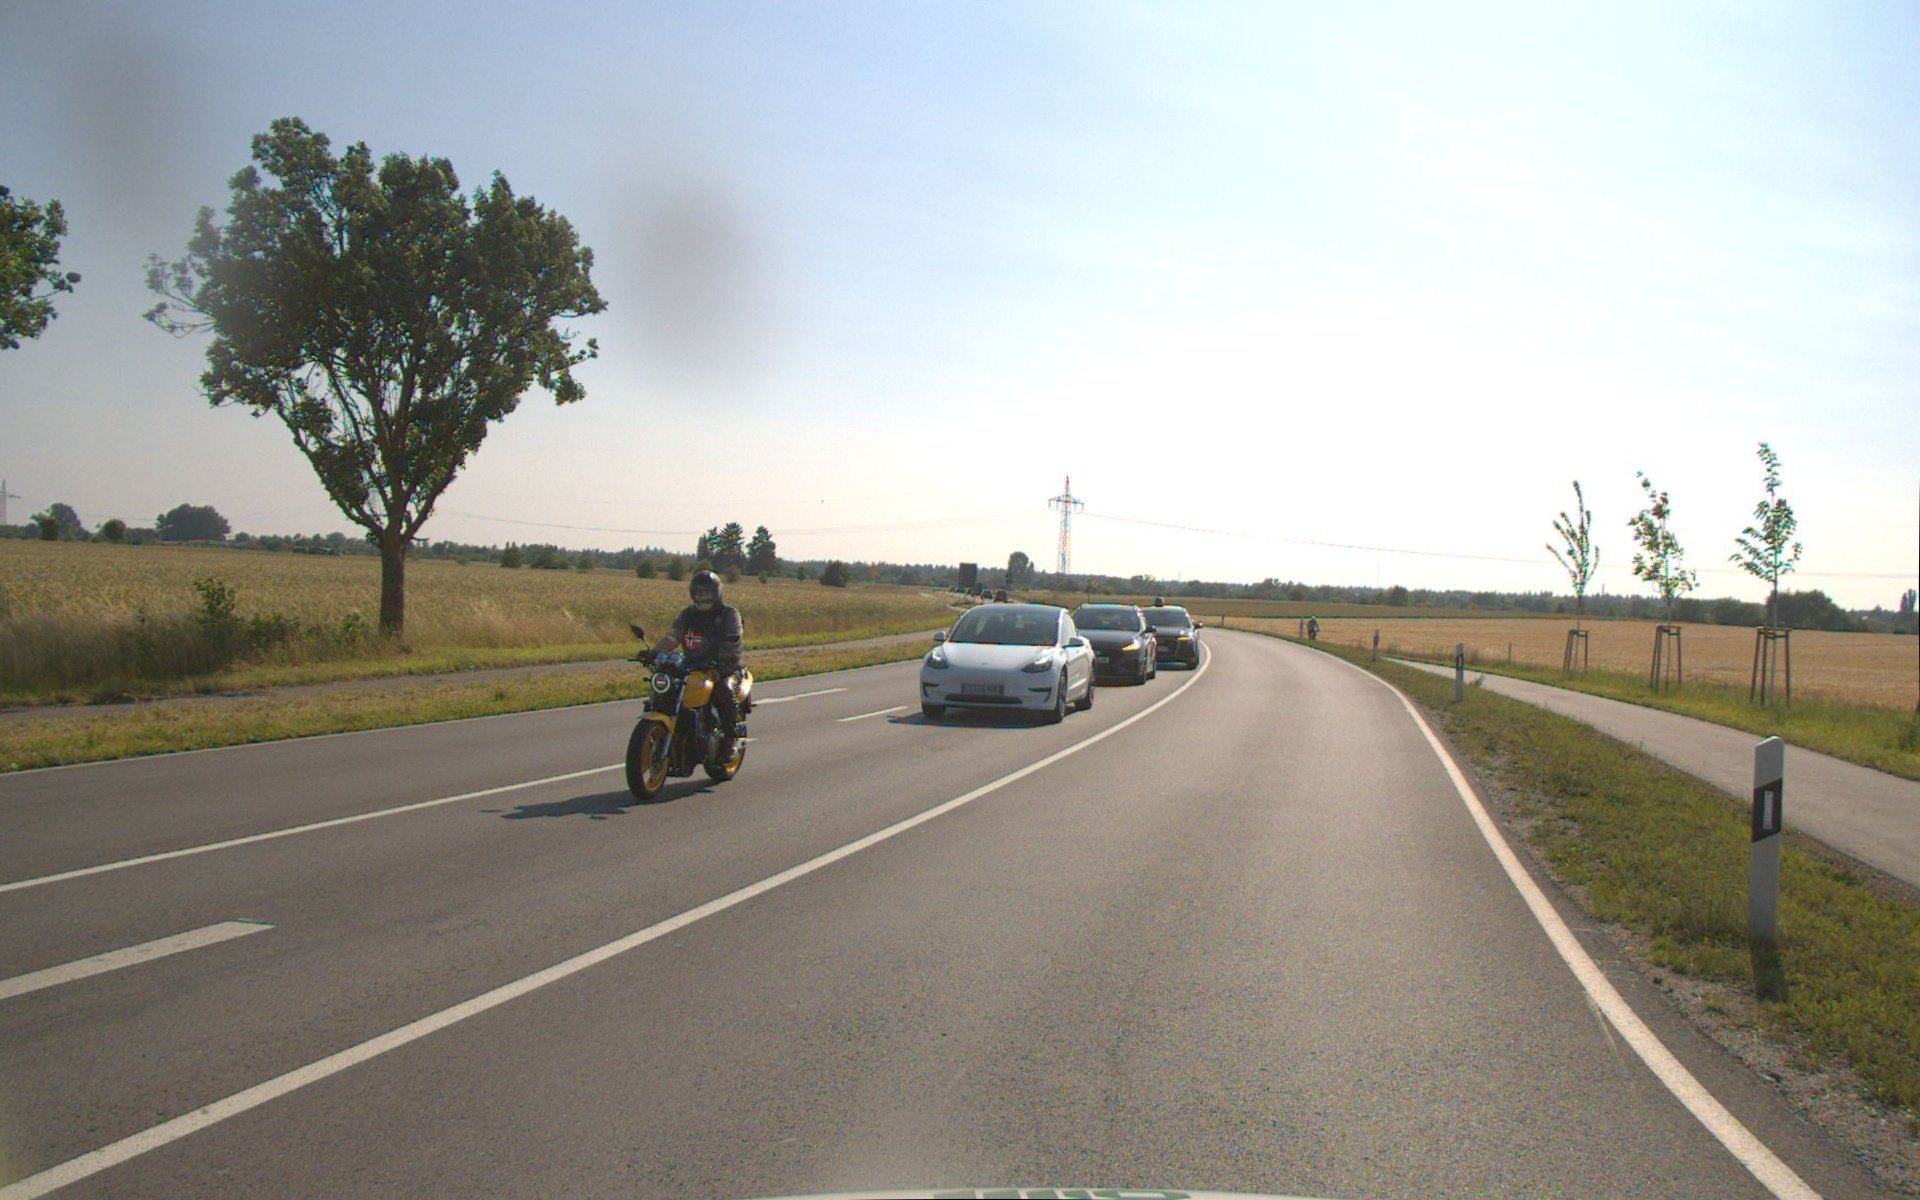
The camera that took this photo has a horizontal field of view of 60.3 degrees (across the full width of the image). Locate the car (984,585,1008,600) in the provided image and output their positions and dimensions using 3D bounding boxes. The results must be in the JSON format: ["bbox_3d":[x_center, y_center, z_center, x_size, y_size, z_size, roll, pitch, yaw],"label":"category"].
[{"bbox_3d":[5.415,-1.153,248.826,1.815,1.864,4.436,5,1,-24],"label":"car"}]

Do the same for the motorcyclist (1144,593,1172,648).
[{"bbox_3d":[5.596,0.570,46.788,0.663,1.521,0.848,2,0,11],"label":"motorcyclist"}]

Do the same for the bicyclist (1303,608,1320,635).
[{"bbox_3d":[20.292,1.239,95.463,0.625,1.482,0.816,4,0,-4],"label":"bicyclist"}]

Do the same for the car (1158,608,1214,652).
[{"bbox_3d":[7.866,1.002,57.301,1.650,1.428,4.003,1,0,12],"label":"car"}]

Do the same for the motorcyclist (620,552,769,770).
[{"bbox_3d":[-1.977,0.436,12.468,0.664,1.542,1.182,2,0,13],"label":"motorcyclist"}]

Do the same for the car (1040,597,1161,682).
[{"bbox_3d":[2.839,0.741,32.604,1.850,1.486,4.309,2,0,12],"label":"car"}]

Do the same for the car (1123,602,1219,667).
[{"bbox_3d":[5.317,0.827,41.171,1.850,1.461,4.800,2,0,13],"label":"car"}]

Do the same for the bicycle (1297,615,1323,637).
[{"bbox_3d":[20.252,1.473,95.695,0.828,1.161,2.205,4,0,-3],"label":"bicycle"}]

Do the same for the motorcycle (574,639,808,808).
[{"bbox_3d":[-1.969,0.873,12.566,0.877,1.062,2.431,2,0,13],"label":"motorcycle"}]

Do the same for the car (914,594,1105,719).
[{"bbox_3d":[0.781,0.689,22.371,1.850,1.492,4.279,1,0,12],"label":"car"}]
